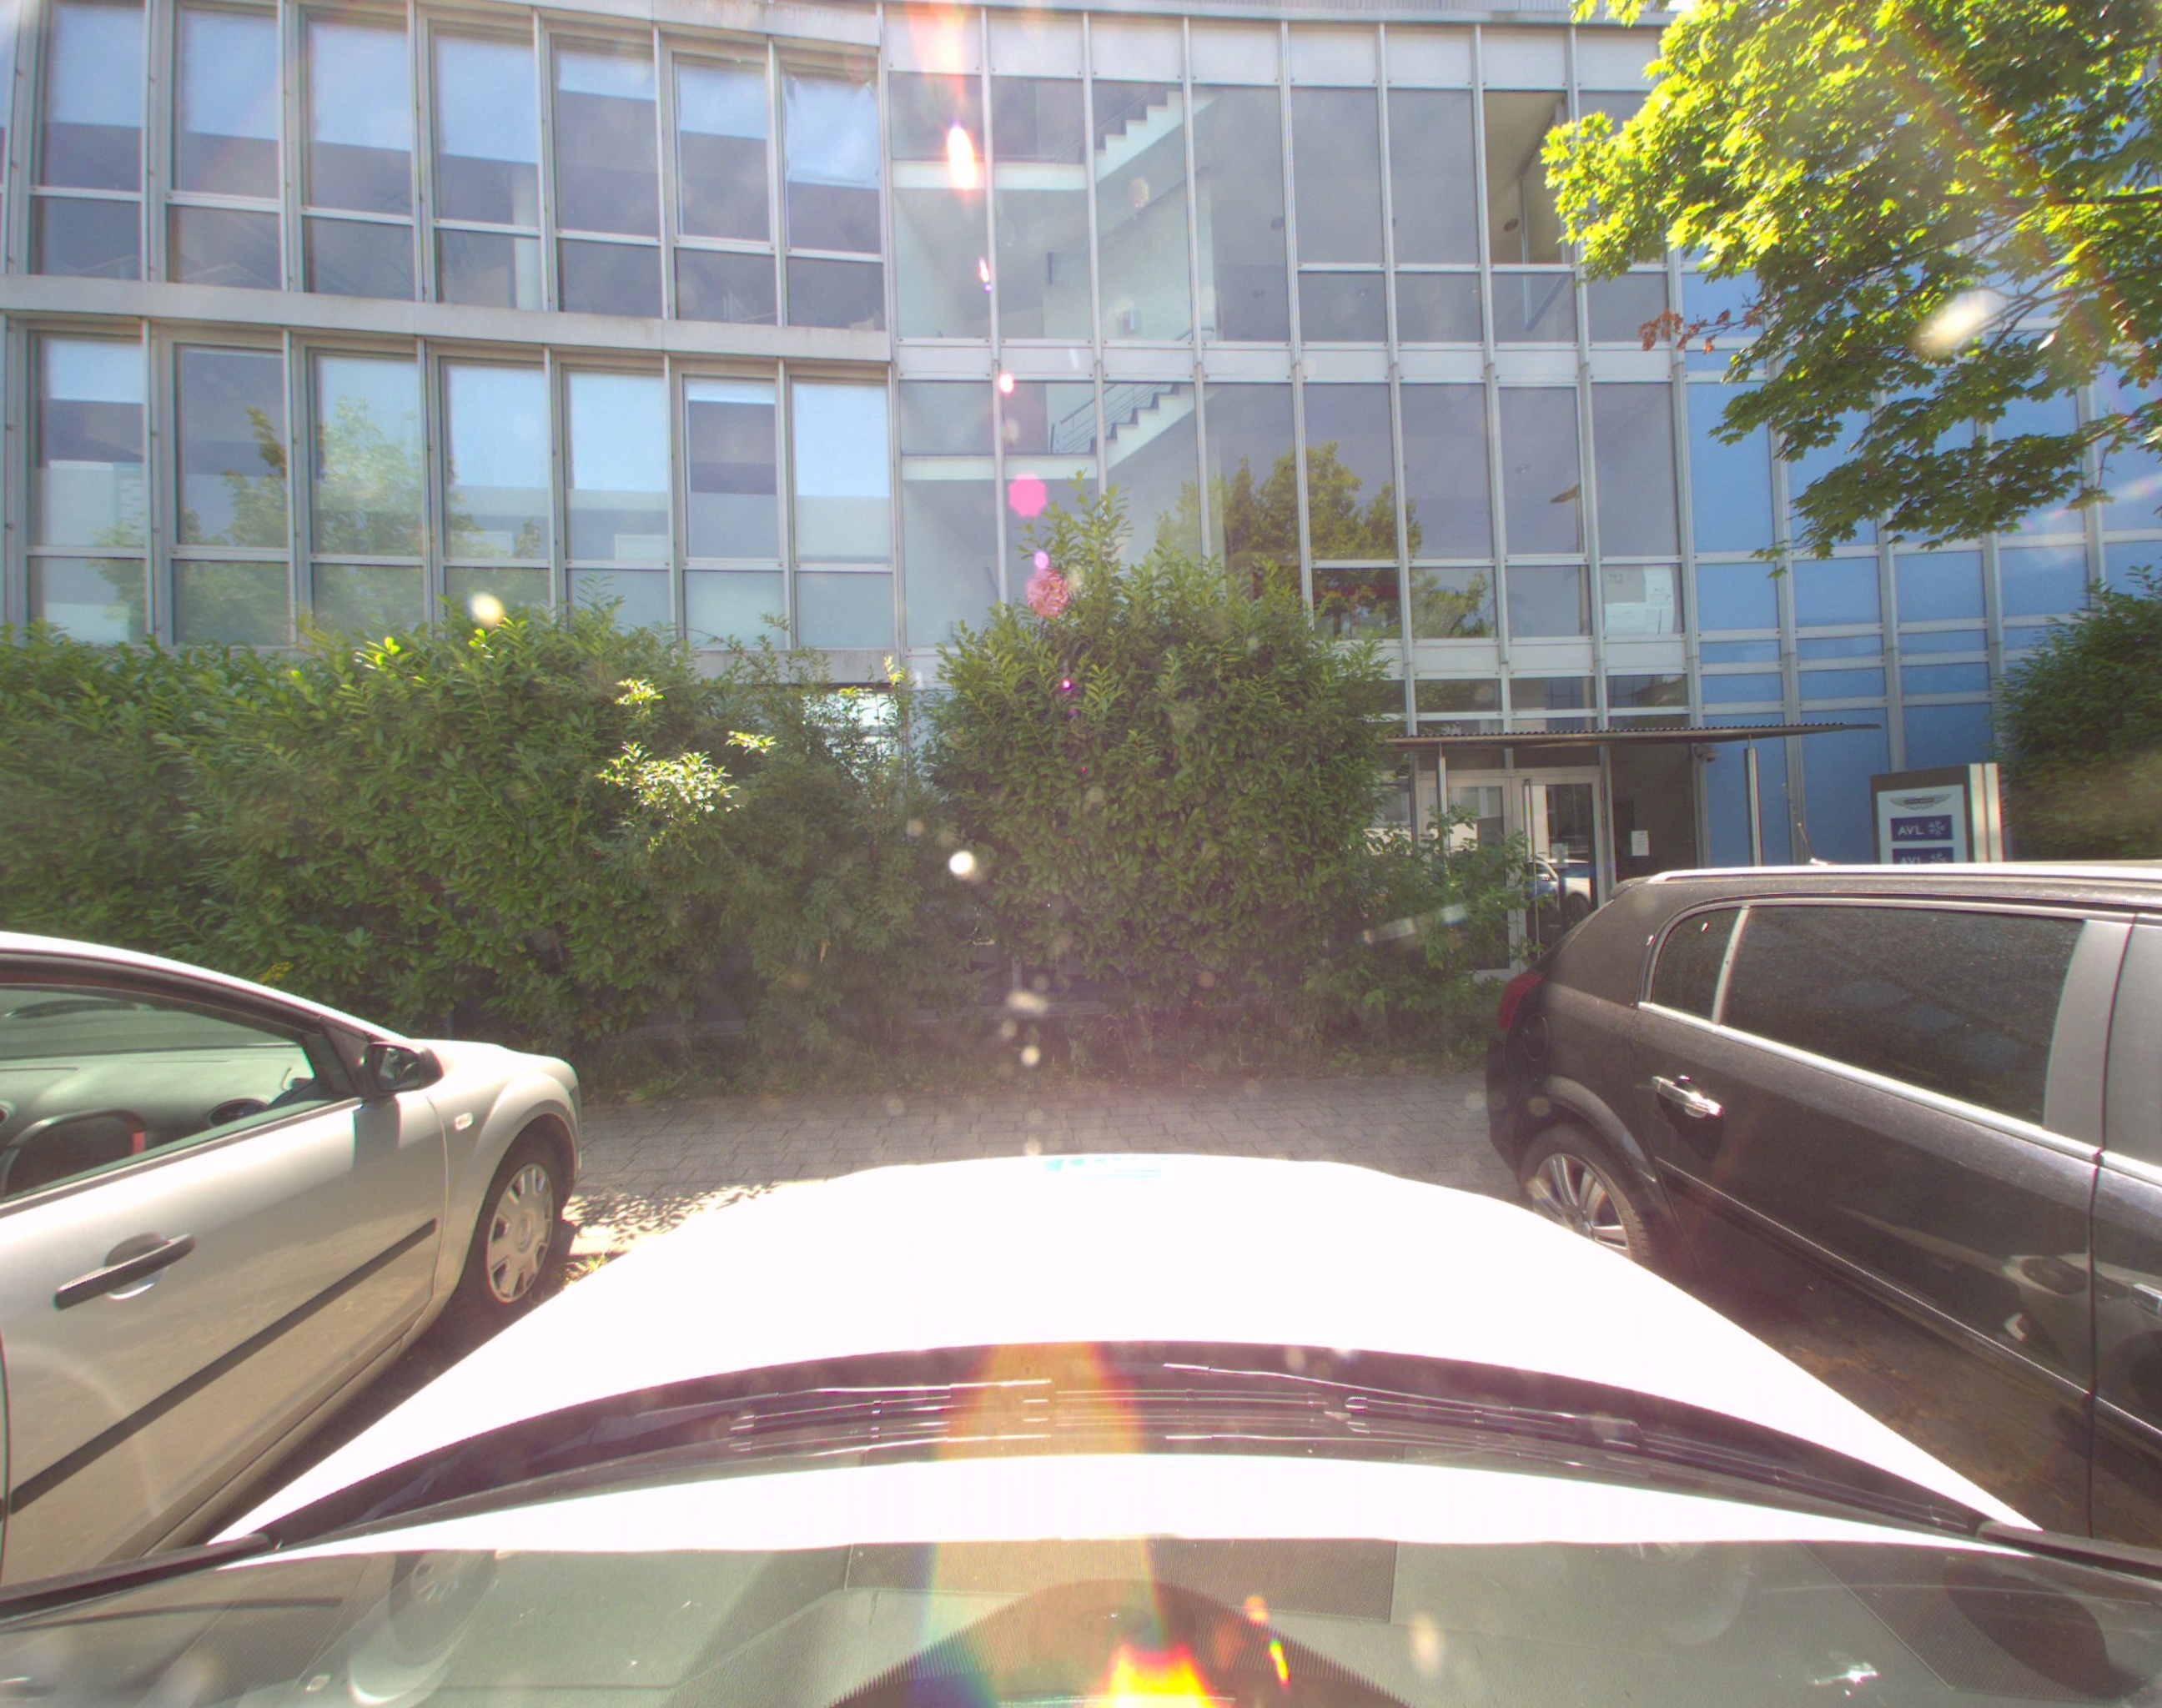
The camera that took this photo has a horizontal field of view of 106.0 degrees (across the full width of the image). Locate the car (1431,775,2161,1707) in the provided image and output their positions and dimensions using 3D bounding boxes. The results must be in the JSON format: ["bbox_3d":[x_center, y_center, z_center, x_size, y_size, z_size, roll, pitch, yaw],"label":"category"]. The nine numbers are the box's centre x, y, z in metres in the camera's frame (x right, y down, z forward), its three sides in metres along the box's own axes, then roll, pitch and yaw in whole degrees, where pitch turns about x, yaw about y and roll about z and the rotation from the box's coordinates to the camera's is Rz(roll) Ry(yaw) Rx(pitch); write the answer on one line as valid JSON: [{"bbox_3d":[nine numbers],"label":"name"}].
[{"bbox_3d":[2.425,0.643,1.157,1.753,1.549,4.562,-1,0,-2],"label":"car"}]

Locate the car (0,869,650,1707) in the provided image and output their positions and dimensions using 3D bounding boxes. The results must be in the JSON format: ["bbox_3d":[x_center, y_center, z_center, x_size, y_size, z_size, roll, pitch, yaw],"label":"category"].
[{"bbox_3d":[-2.463,0.808,1.216,1.717,1.479,4.338,-1,0,-7],"label":"car"}]
